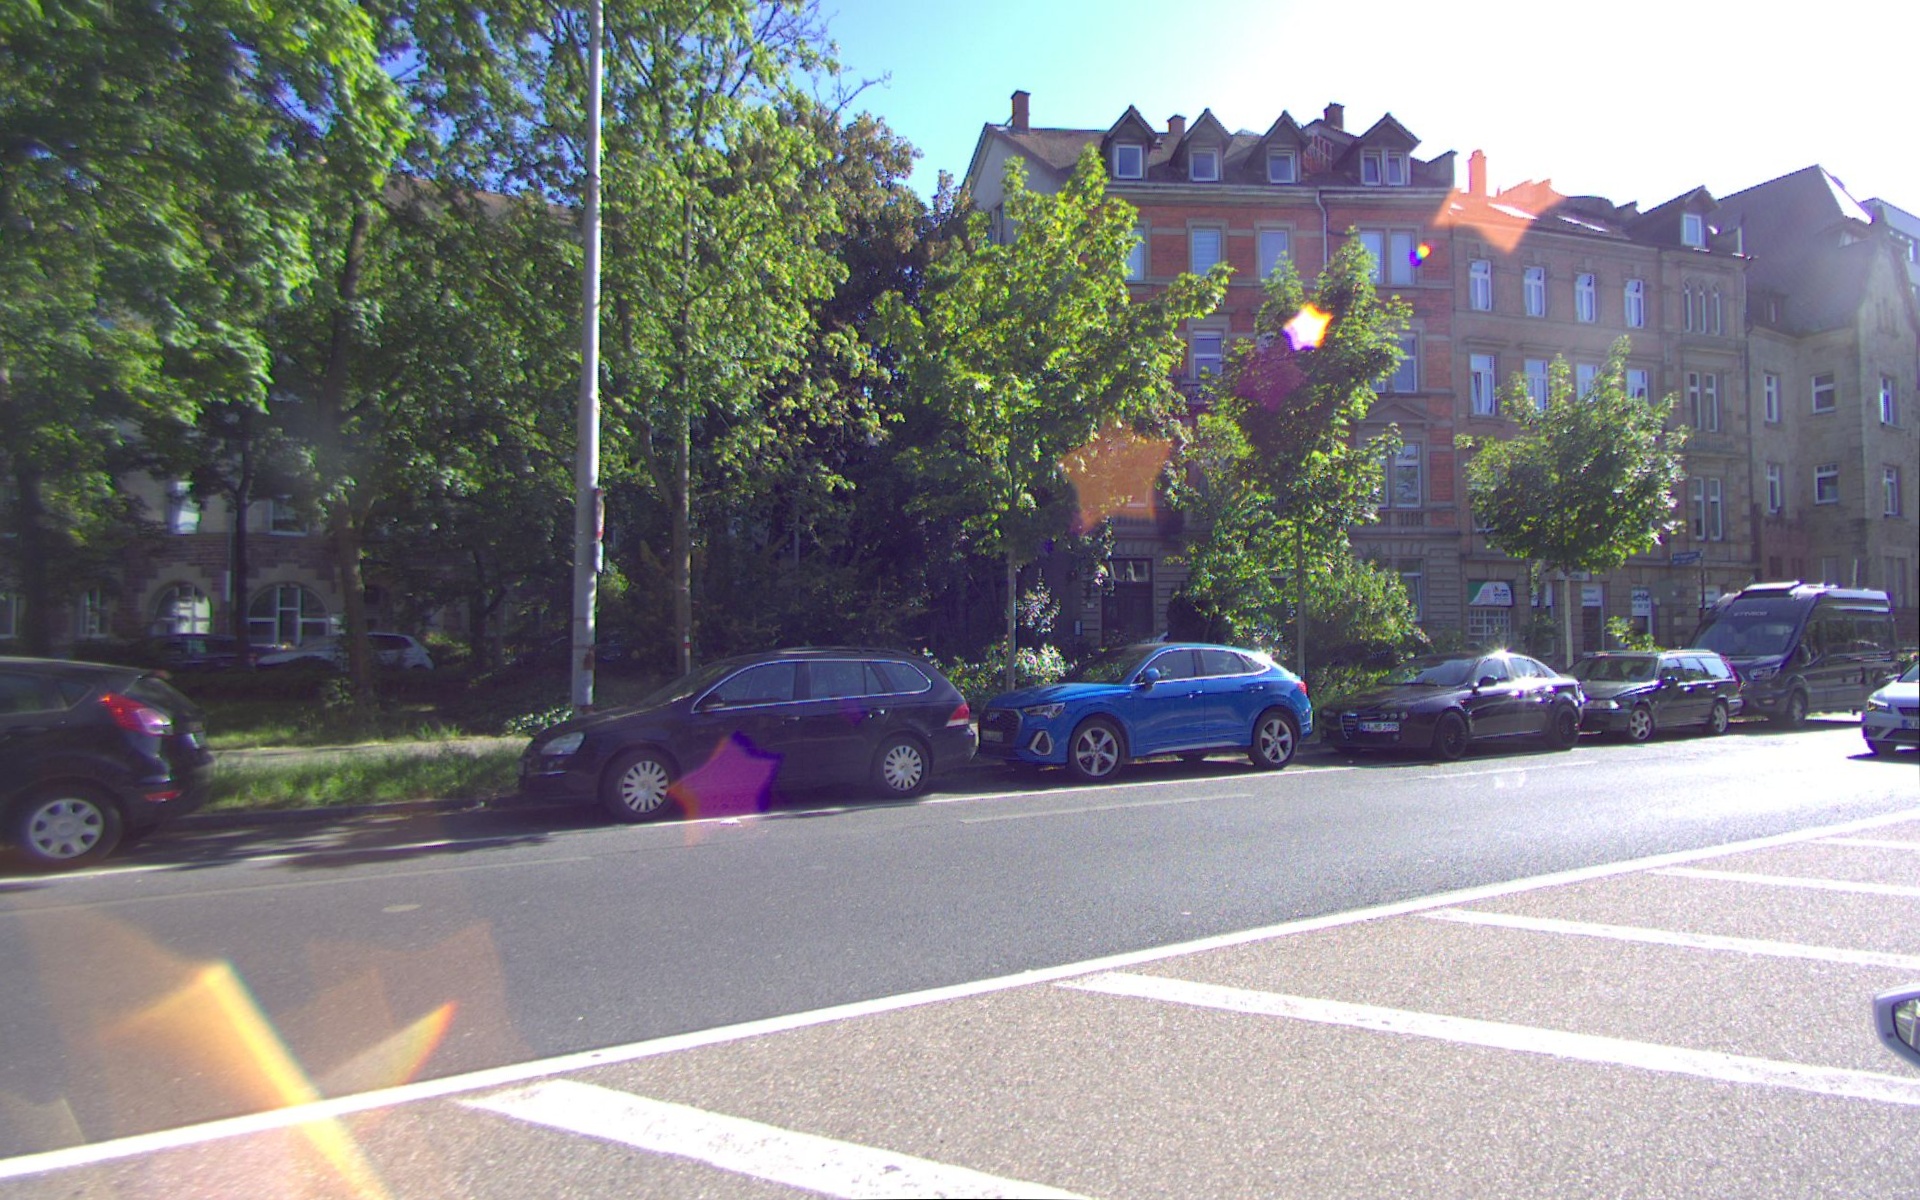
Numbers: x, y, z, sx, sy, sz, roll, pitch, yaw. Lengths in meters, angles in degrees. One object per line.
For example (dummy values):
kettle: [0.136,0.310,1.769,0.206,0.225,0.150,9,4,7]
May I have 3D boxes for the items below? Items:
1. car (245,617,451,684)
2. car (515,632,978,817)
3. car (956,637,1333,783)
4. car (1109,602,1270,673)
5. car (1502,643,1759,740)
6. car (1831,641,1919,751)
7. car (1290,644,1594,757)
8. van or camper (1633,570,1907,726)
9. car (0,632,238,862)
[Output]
car: [-14.683,1.269,24.378,1.564,1.446,4.182,-3,-5,21]
car: [-2.008,1.143,9.985,4.225,1.501,1.582,3,-4,-32]
car: [2.346,1.272,12.595,4.499,1.558,1.775,1,-4,-27]
car: [6.867,1.174,30.291,4.366,1.938,1.865,2,-4,-4]
car: [11.497,1.505,17.157,4.607,1.475,1.687,2,-4,-29]
car: [14.380,1.307,14.150,4.174,1.438,1.910,2,-3,-30]
car: [7.043,1.383,14.595,4.351,1.431,1.773,2,-4,-29]
van or camper: [16.451,0.963,20.320,6.014,2.775,2.207,2,-2,-29]
car: [-7.504,0.984,6.898,3.910,1.521,1.458,2,-4,-29]
